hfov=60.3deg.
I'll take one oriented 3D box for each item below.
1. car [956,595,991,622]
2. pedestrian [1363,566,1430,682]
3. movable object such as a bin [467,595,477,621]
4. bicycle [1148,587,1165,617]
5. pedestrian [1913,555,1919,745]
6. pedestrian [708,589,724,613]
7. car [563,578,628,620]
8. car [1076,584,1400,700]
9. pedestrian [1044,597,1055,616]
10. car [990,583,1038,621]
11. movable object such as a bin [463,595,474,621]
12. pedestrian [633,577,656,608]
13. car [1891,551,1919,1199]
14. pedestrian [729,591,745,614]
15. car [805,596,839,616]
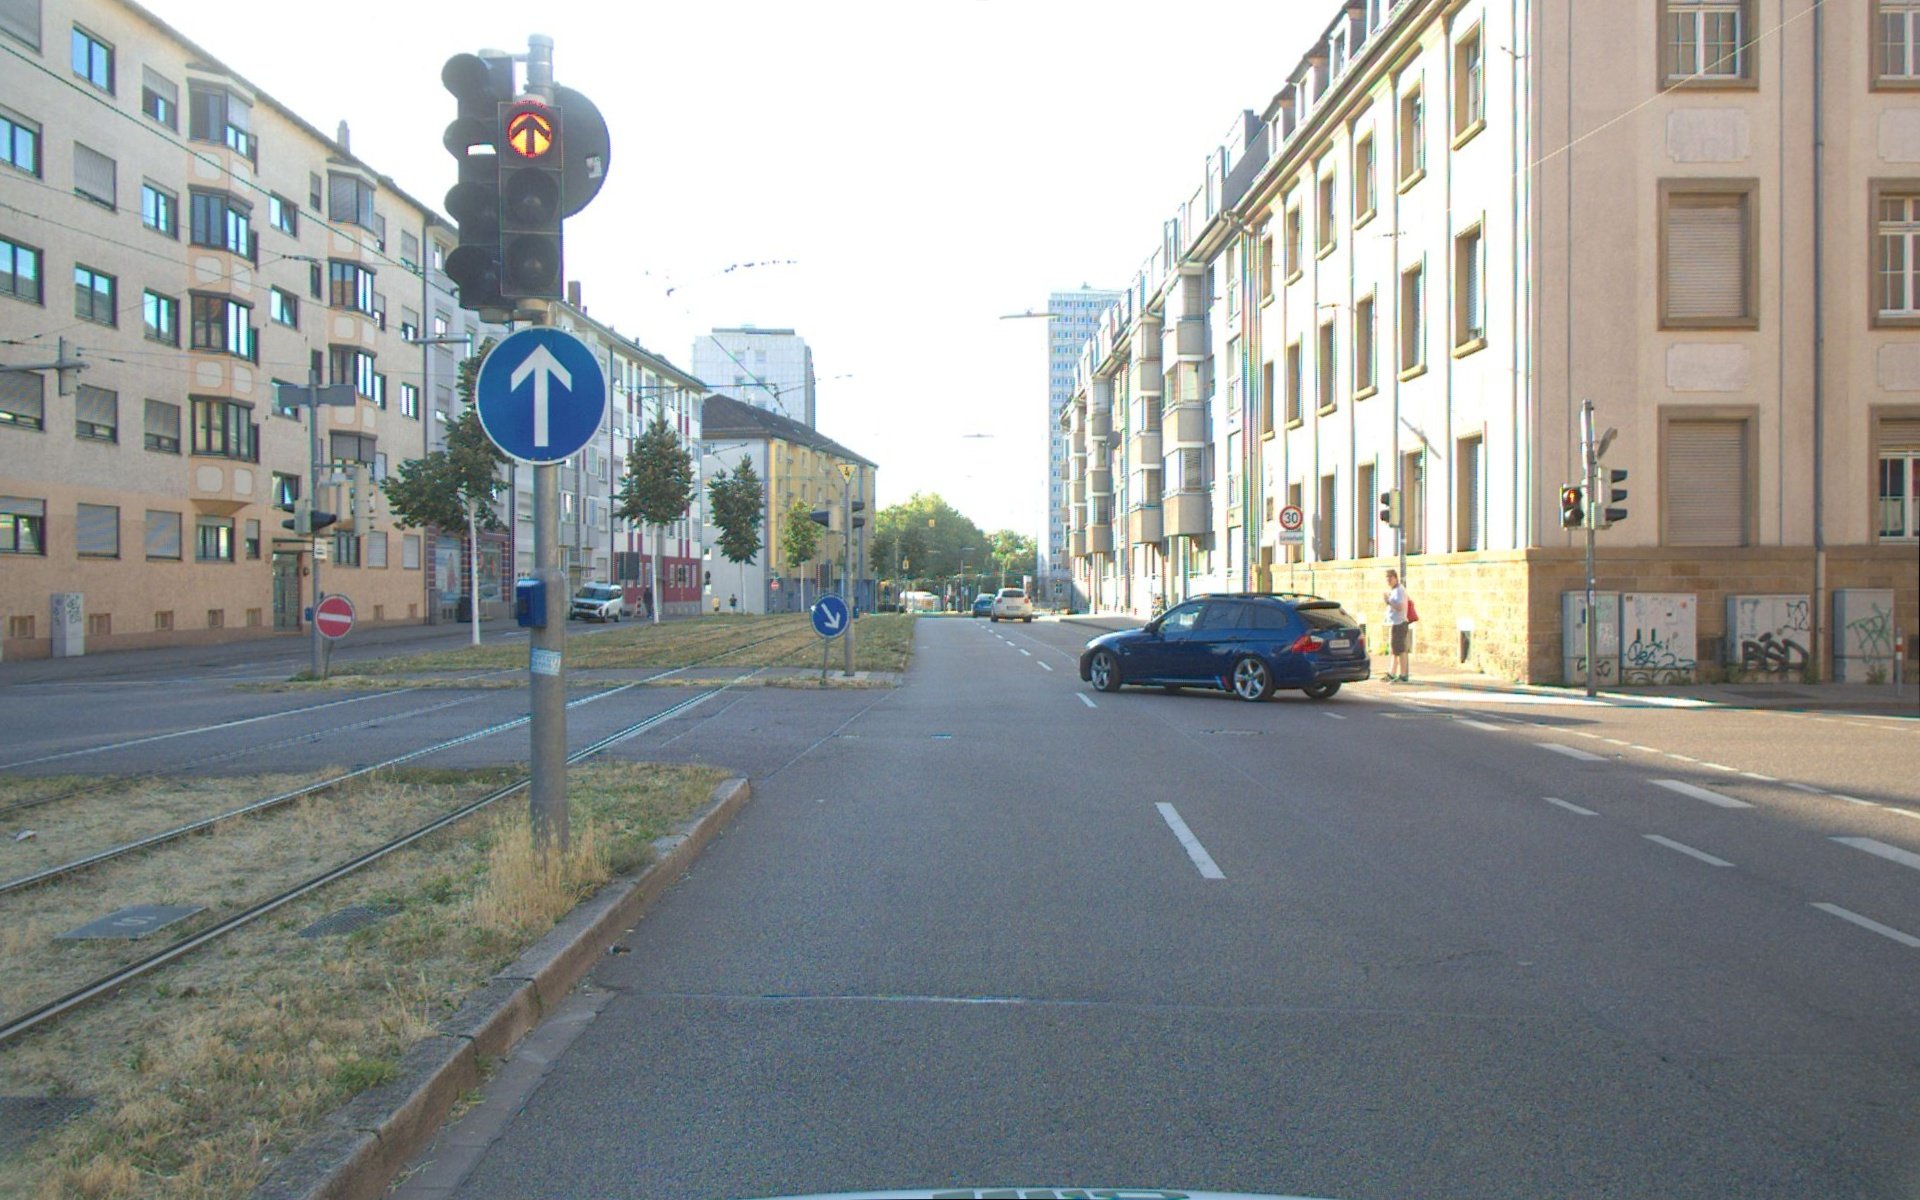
[{"bbox_3d":[0.816,0.520,101.805,1.953,1.581,4.392,1,0,-2],"label":"car"},{"bbox_3d":[6.924,0.373,26.259,0.818,1.793,0.824,1,-1,-1],"label":"pedestrian"},{"bbox_3d":[-20.246,0.330,68.593,0.292,1.054,0.441,1,-1,-2],"label":"movable object such as a bin"},{"bbox_3d":[7.357,0.077,62.060,0.376,1.115,1.503,-1,0,-3],"label":"bicycle"},{"bbox_3d":[9.368,0.477,15.298,0.616,1.789,0.825,1,-1,-1],"label":"pedestrian"},{"bbox_3d":[-17.926,0.066,121.473,0.942,1.723,1.011,1,0,4],"label":"pedestrian"},{"bbox_3d":[-17.893,-0.044,81.360,1.952,1.958,4.543,1,0,3],"label":"car"},{"bbox_3d":[3.873,0.542,23.554,1.918,1.481,4.257,1,0,-44],"label":"car"},{"bbox_3d":[5.969,0.429,110.076,0.677,1.256,0.736,1,0,0],"label":"pedestrian"},{"bbox_3d":[2.354,0.085,73.046,1.952,1.591,4.000,1,0,0],"label":"car"},{"bbox_3d":[-20.222,0.341,68.026,0.292,1.054,0.441,1,-1,-2],"label":"movable object such as a bin"},{"bbox_3d":[-18.386,-0.443,96.496,1.246,1.791,1.271,1,0,-10],"label":"pedestrian"},{"bbox_3d":[2.870,0.720,1.452,1.663,1.580,4.225,1,0,-1],"label":"car"},{"bbox_3d":[-16.532,0.181,122.431,0.942,1.699,1.011,1,0,4],"label":"pedestrian"},{"bbox_3d":[-11.592,0.504,138.942,1.857,1.662,4.751,-1,0,7],"label":"car"}]
